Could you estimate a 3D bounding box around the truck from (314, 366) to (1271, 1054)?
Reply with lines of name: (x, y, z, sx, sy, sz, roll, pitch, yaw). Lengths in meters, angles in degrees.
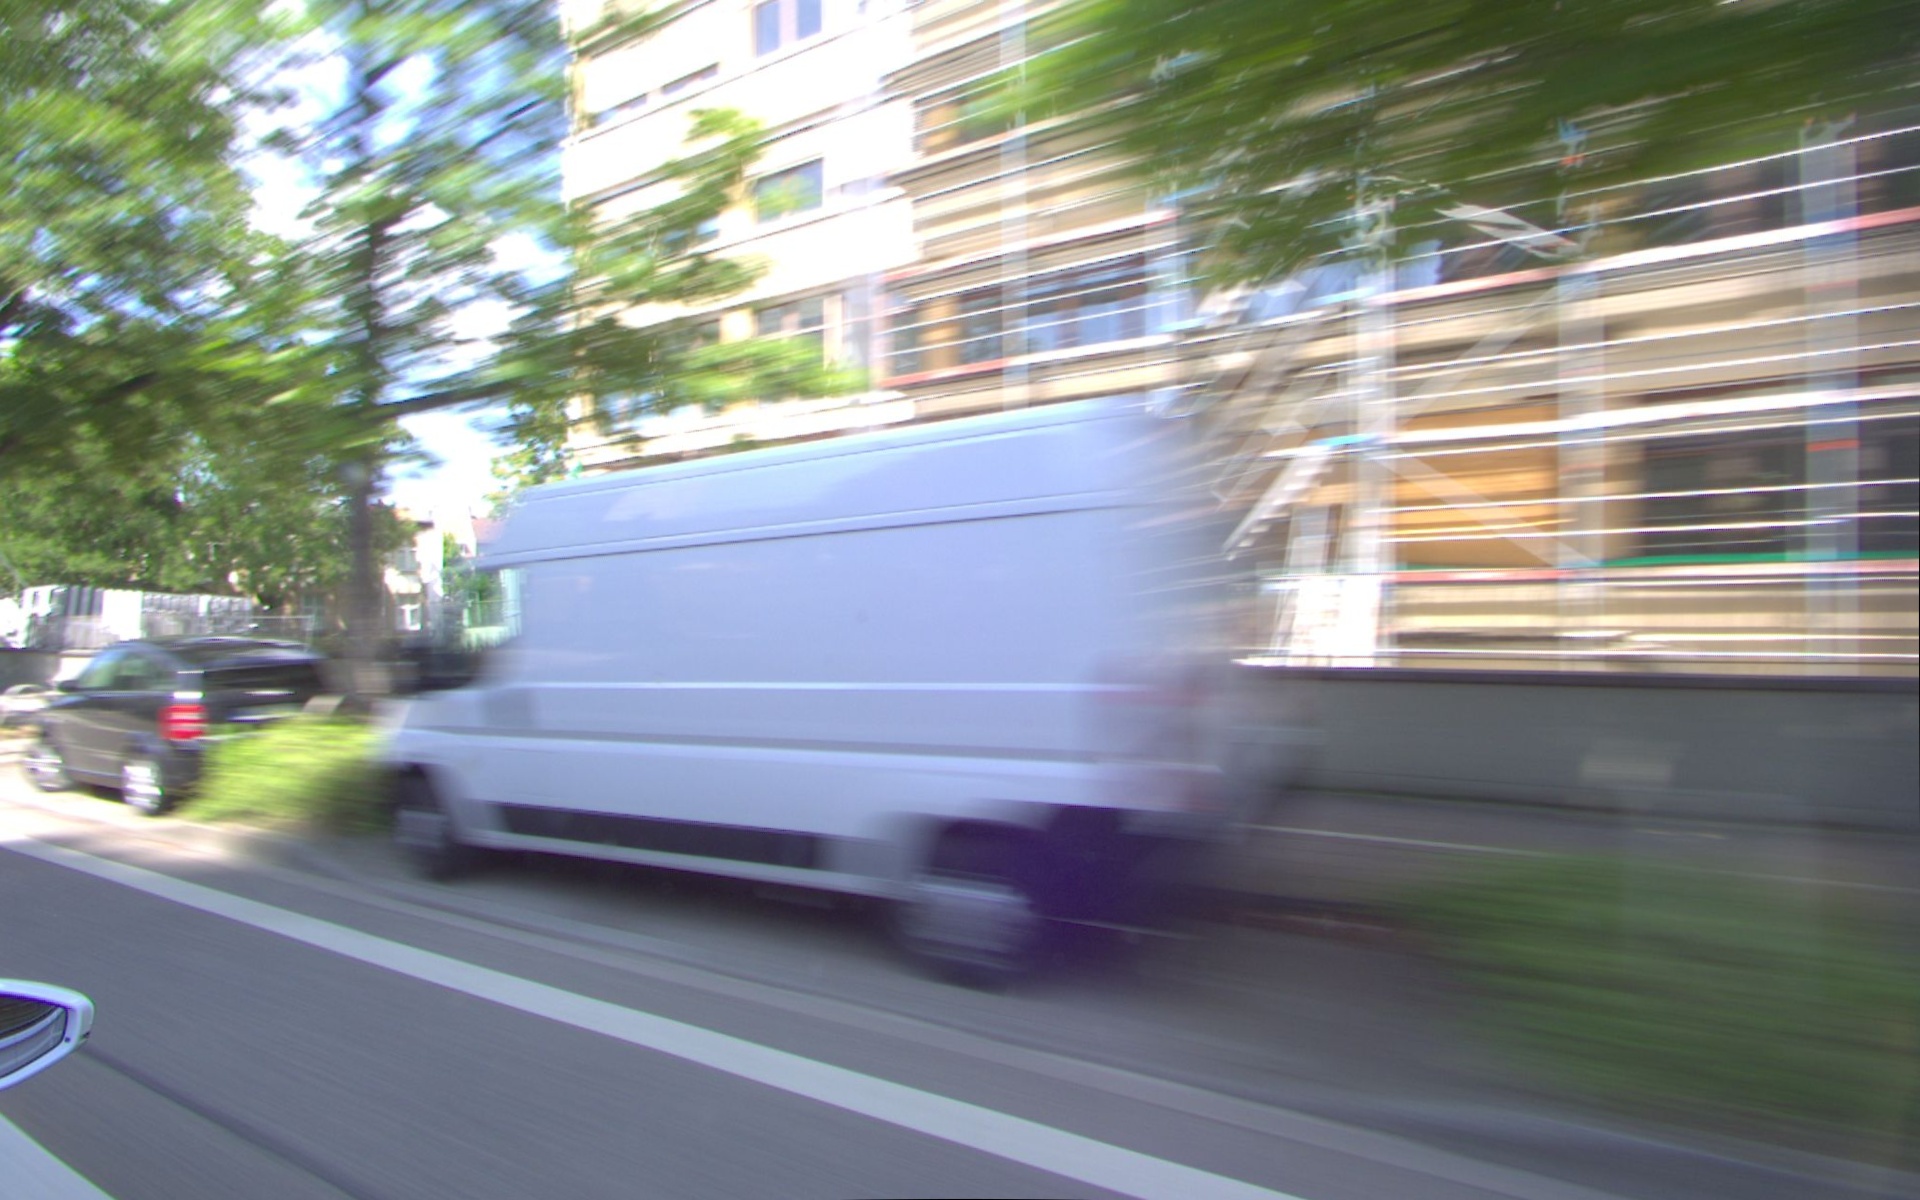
truck: (-1.335, 0.452, 6.072, 5.869, 2.521, 2.011, -1, -1, 31)

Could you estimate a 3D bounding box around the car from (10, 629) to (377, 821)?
car: (-7.698, 1.083, 9.987, 3.889, 1.554, 1.641, -1, -1, 32)
